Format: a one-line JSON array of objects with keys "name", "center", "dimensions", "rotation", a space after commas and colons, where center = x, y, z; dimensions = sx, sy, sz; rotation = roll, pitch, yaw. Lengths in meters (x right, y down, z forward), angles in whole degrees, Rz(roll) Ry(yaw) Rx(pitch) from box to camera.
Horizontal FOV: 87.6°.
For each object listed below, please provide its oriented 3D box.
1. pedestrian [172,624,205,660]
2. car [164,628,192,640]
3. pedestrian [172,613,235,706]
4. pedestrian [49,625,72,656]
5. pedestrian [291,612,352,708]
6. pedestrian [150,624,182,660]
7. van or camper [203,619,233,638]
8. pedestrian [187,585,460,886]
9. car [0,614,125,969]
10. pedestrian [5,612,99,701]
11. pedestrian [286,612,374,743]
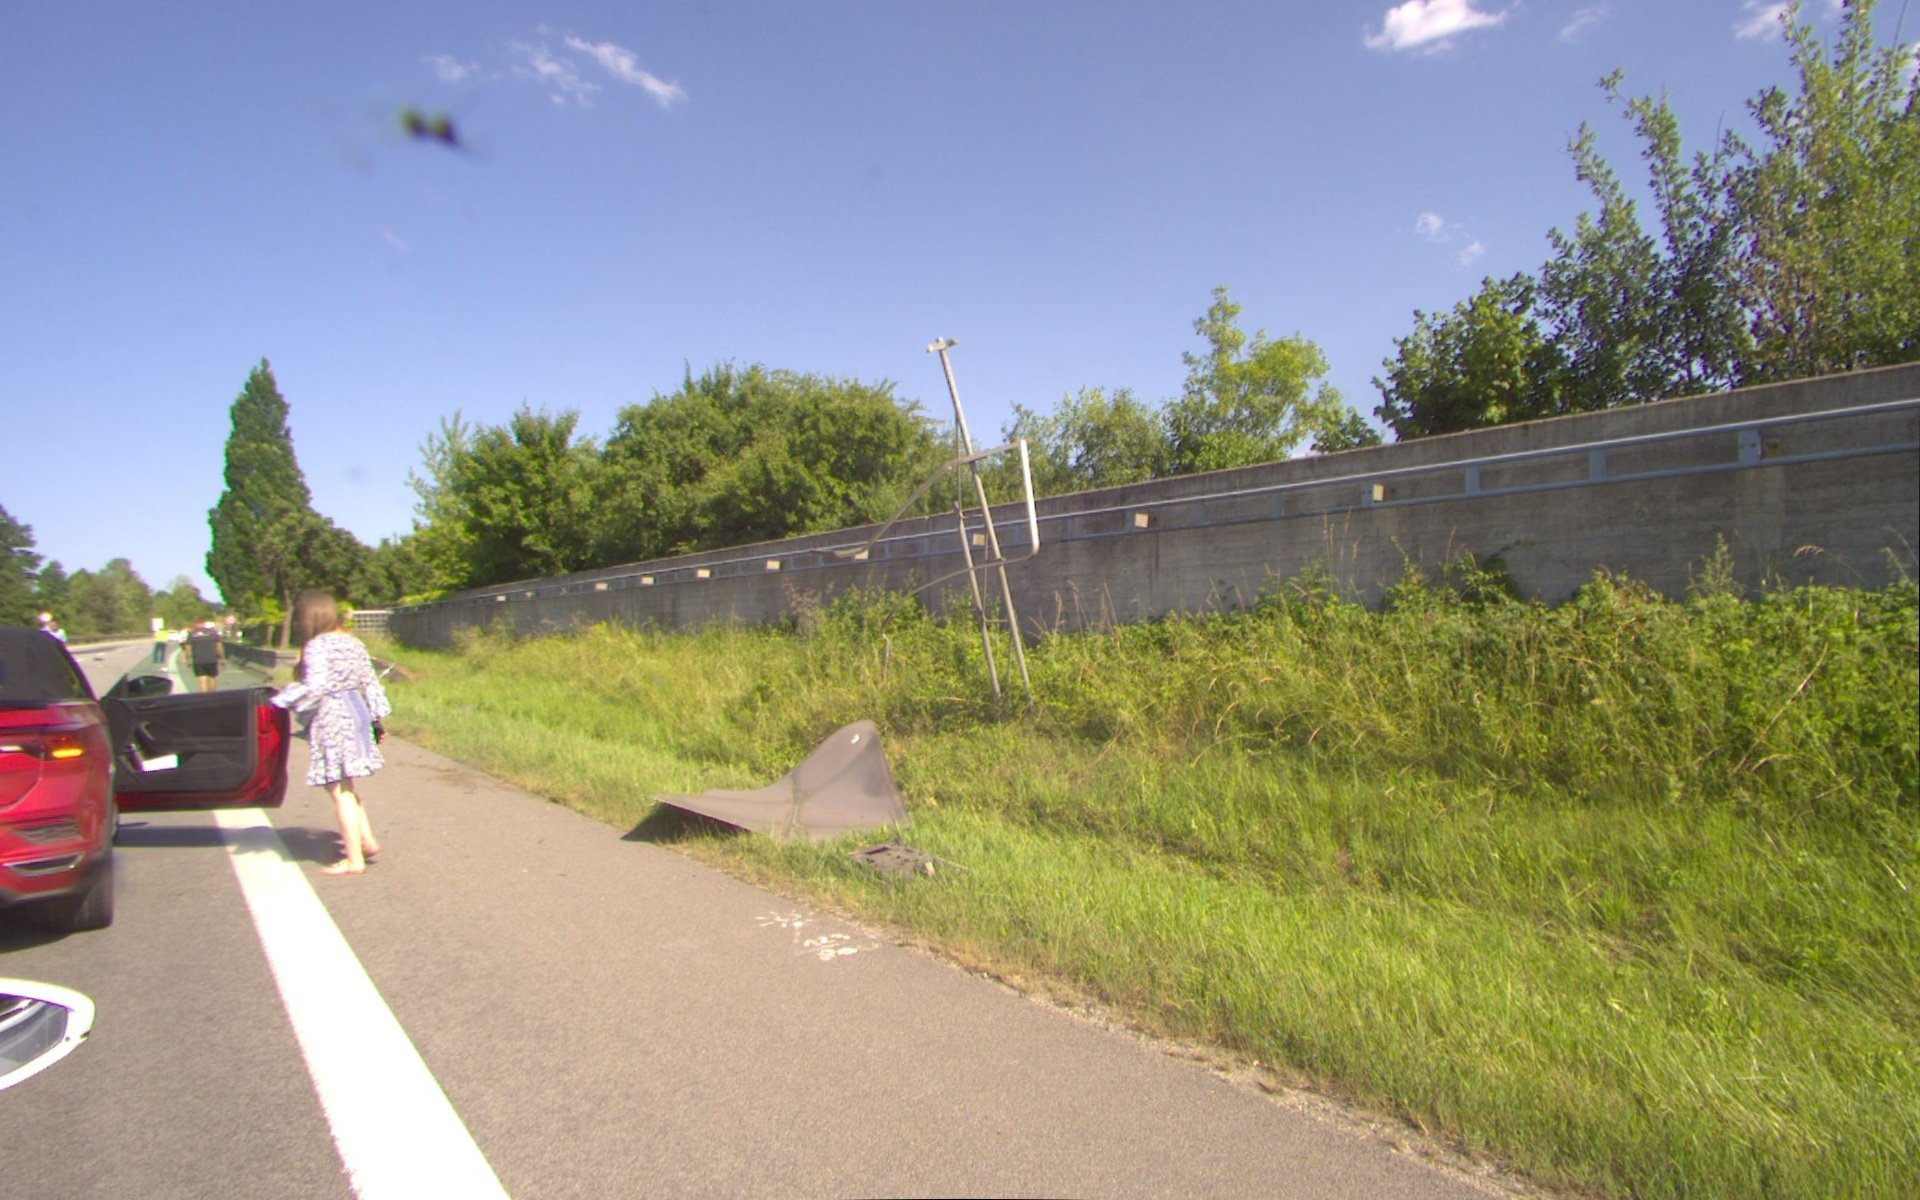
[{"name": "pedestrian", "center": [-36.758, 1.993, 47.725], "dimensions": [1.102, 1.711, 0.967], "rotation": [1, -2, -33]}, {"name": "car", "center": [-99.329, 4.288, 127.272], "dimensions": [1.710, 1.506, 4.198], "rotation": [1, -2, -23]}, {"name": "pedestrian", "center": [-14.862, 1.155, 19.676], "dimensions": [0.819, 1.782, 0.808], "rotation": [-1, -2, 42]}, {"name": "pedestrian", "center": [-48.724, 2.195, 54.237], "dimensions": [0.784, 1.711, 0.787], "rotation": [1, -2, -35]}, {"name": "pedestrian", "center": [-11.905, 1.107, 18.668], "dimensions": [0.886, 1.746, 0.749], "rotation": [1, -2, -36]}, {"name": "pedestrian", "center": [-38.294, 2.008, 48.304], "dimensions": [1.045, 1.710, 1.011], "rotation": [1, -2, -33]}, {"name": "van or camper", "center": [-94.643, 3.609, 127.795], "dimensions": [1.967, 2.345, 4.459], "rotation": [1, -2, -22]}, {"name": "pedestrian", "center": [-3.889, 0.787, 6.211], "dimensions": [1.106, 1.717, 0.893], "rotation": [-1, 0, 0]}, {"name": "car", "center": [-5.784, 0.841, 5.538], "dimensions": [1.719, 1.506, 4.176], "rotation": [2, -2, -39]}, {"name": "pedestrian", "center": [-19.111, 1.168, 21.094], "dimensions": [1.089, 1.811, 1.089], "rotation": [0, -2, 23]}, {"name": "pedestrian", "center": [-8.531, 1.007, 13.606], "dimensions": [0.947, 1.675, 1.271], "rotation": [-1, 0, -31]}]
